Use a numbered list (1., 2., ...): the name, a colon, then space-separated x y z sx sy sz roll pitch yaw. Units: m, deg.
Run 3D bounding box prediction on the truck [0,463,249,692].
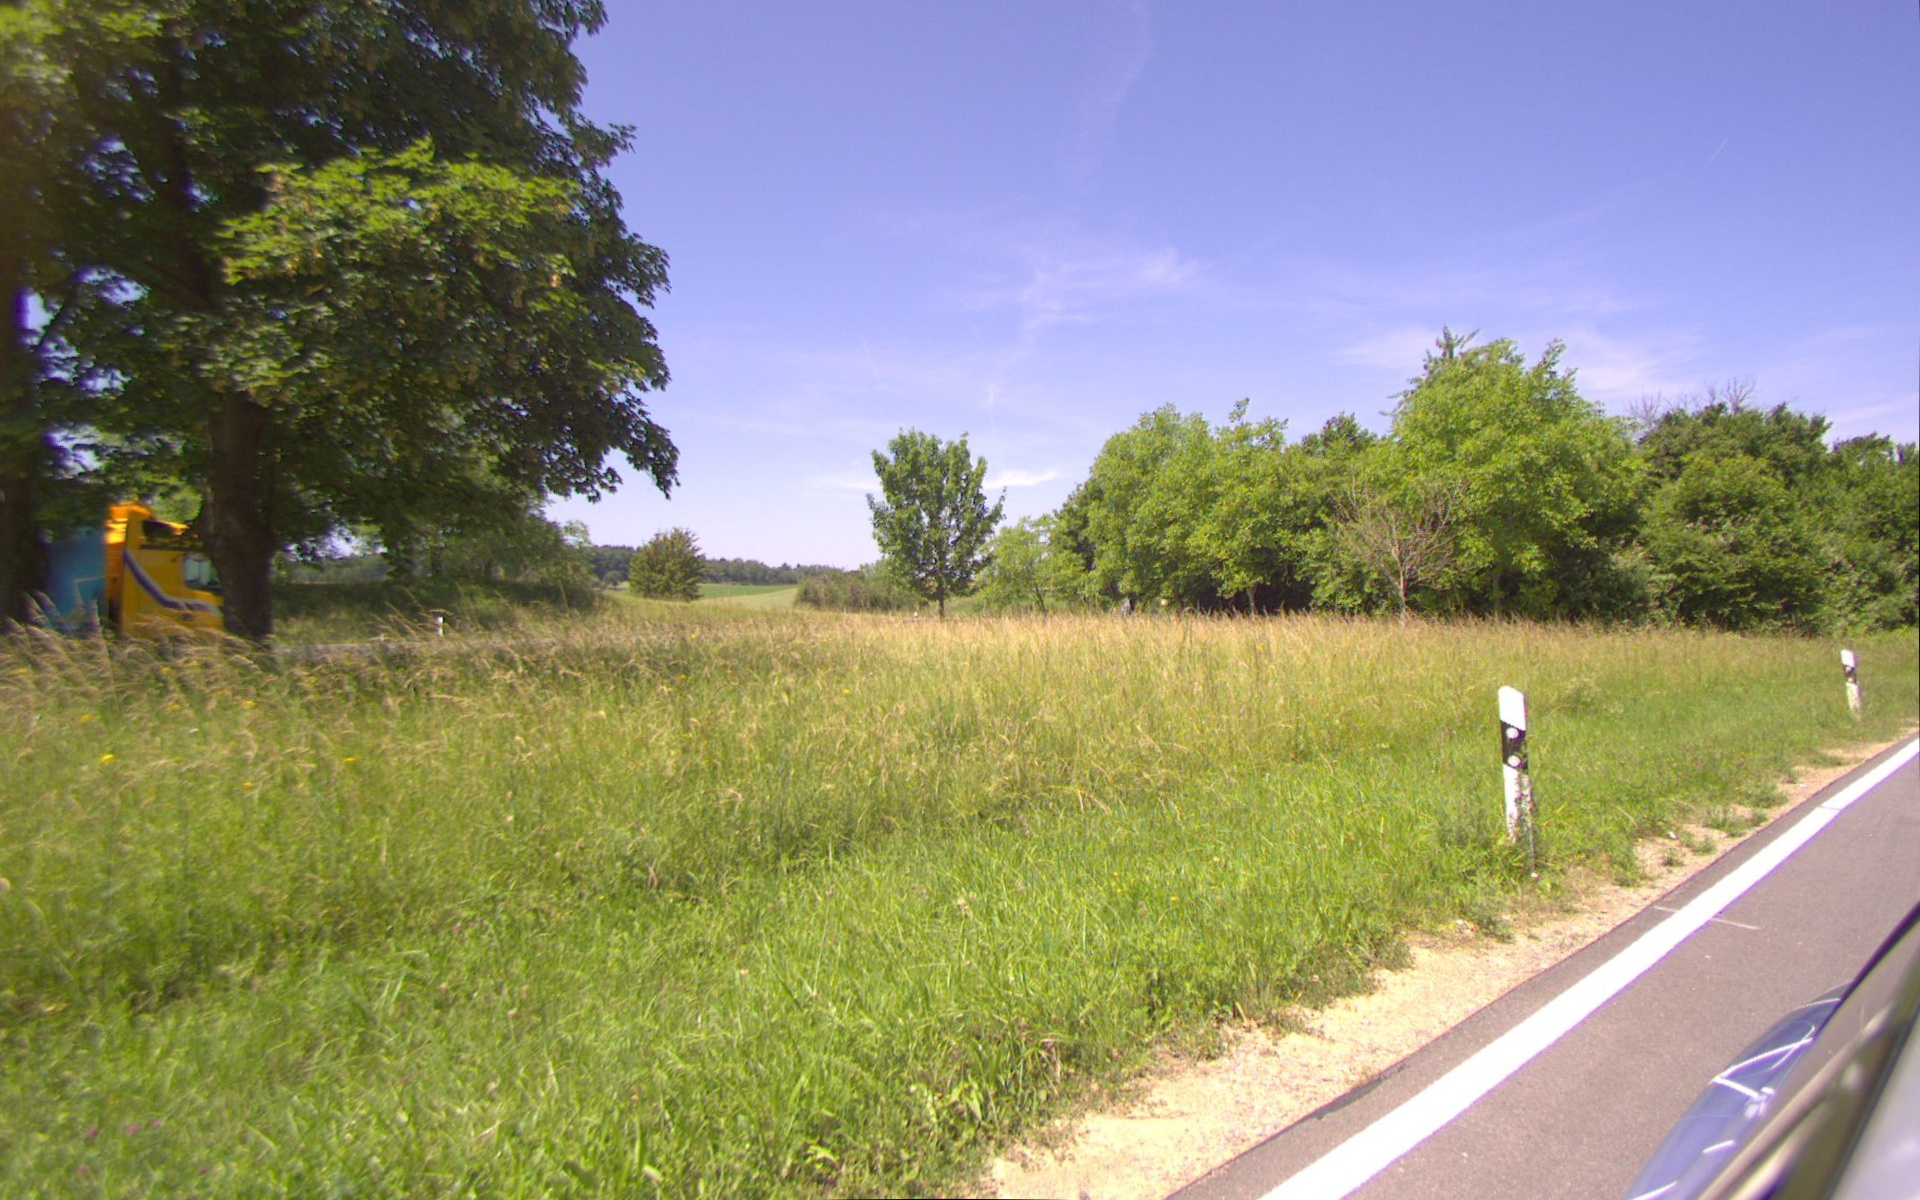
1. truck: -20.224 -0.428 15.477 2.817 4.184 16.697 0 0 20
